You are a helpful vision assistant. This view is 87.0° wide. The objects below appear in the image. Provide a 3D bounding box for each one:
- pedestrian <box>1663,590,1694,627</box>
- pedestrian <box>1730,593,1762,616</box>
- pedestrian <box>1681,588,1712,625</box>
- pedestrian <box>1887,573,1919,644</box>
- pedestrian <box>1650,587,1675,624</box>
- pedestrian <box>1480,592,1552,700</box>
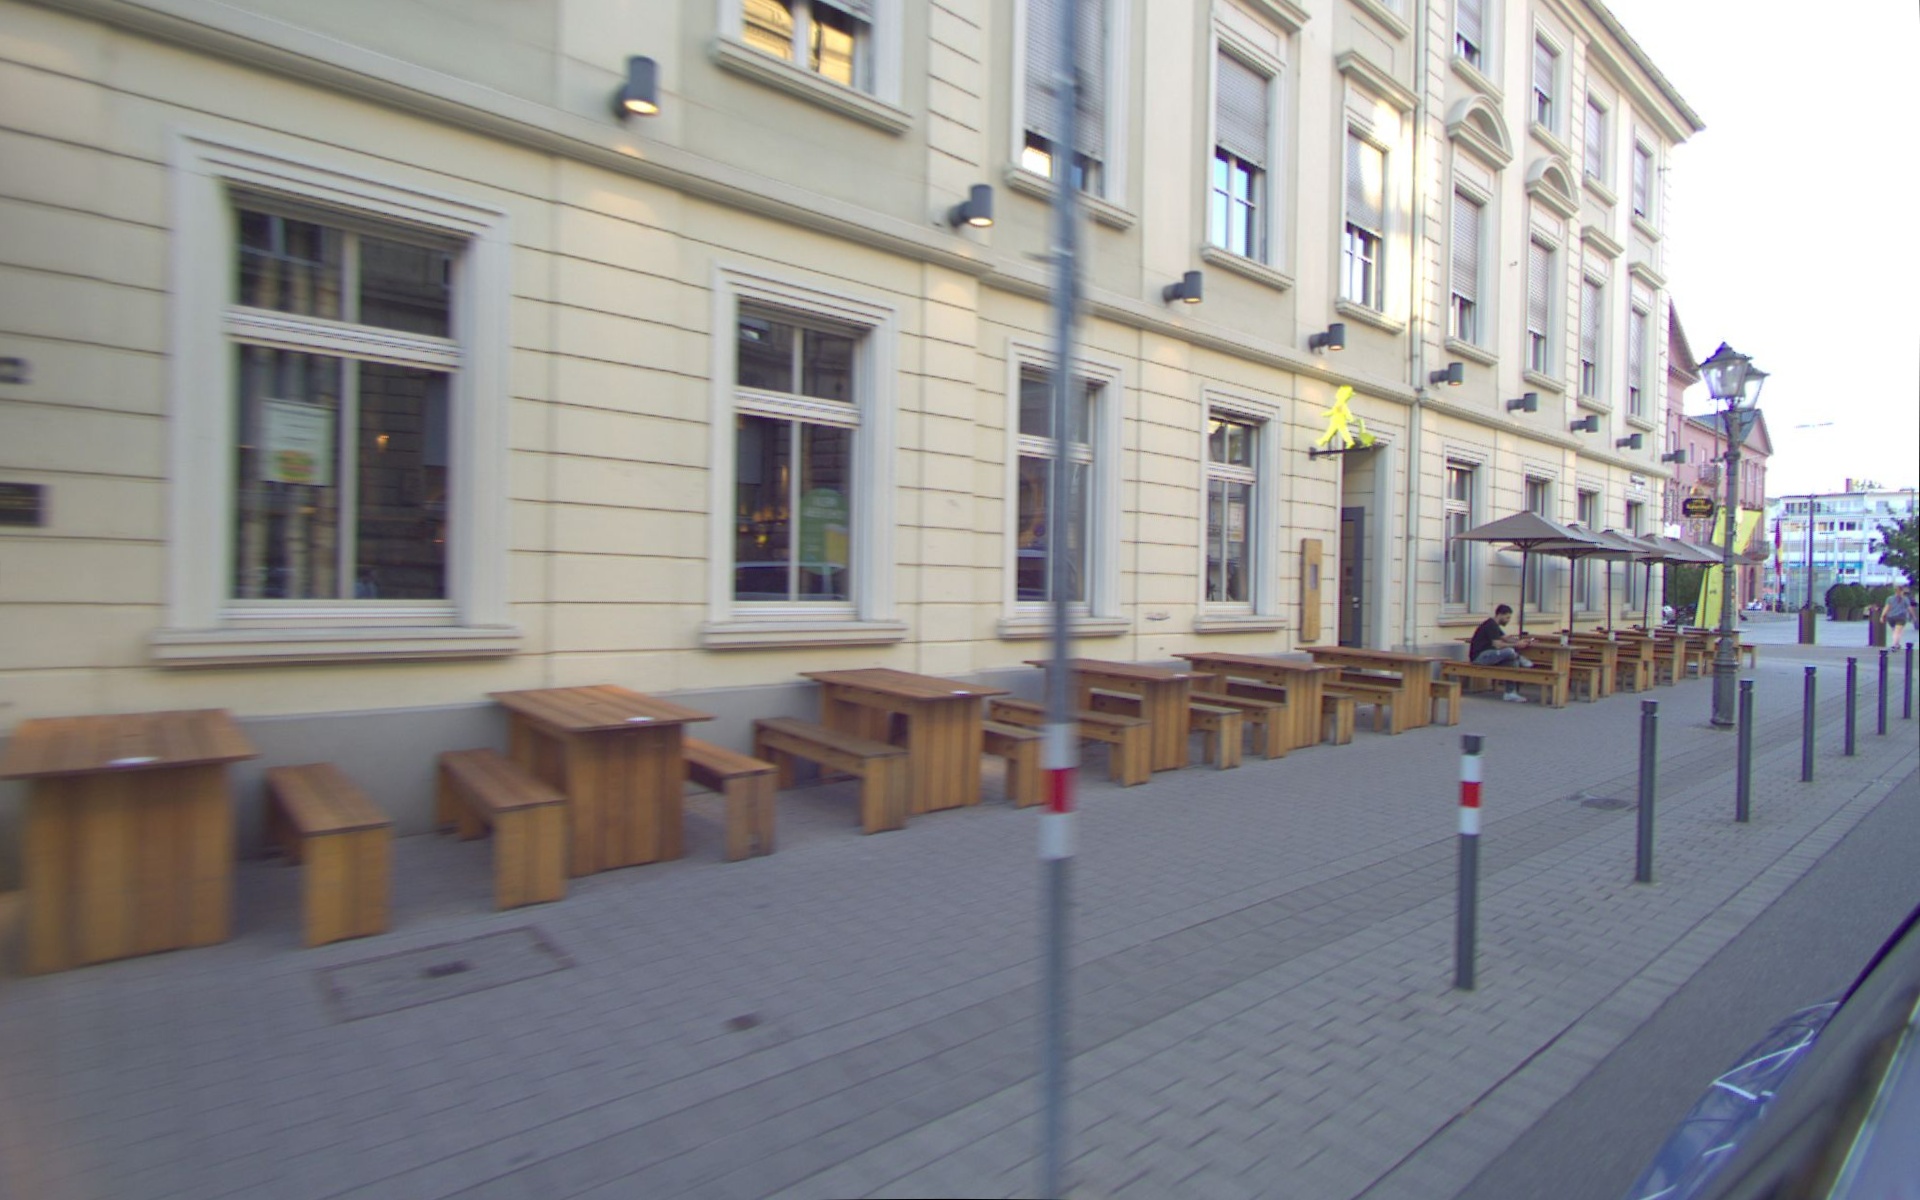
[{"bbox_3d":[29.012,0.329,40.855,0.572,1.466,0.832,1,1,-8],"label":"pedestrian"},{"bbox_3d":[45.319,0.245,58.400,1.397,1.278,1.310,1,1,37],"label":"pedestrian"},{"bbox_3d":[29.786,0.255,40.944,0.572,1.466,0.832,1,1,-10],"label":"pedestrian"},{"bbox_3d":[24.069,0.207,25.555,0.705,1.751,0.609,1,1,2],"label":"pedestrian"},{"bbox_3d":[28.215,0.212,40.654,0.577,1.466,0.825,1,1,20],"label":"pedestrian"},{"bbox_3d":[7.416,0.587,13.491,0.771,1.376,0.716,1,1,33],"label":"pedestrian"}]
